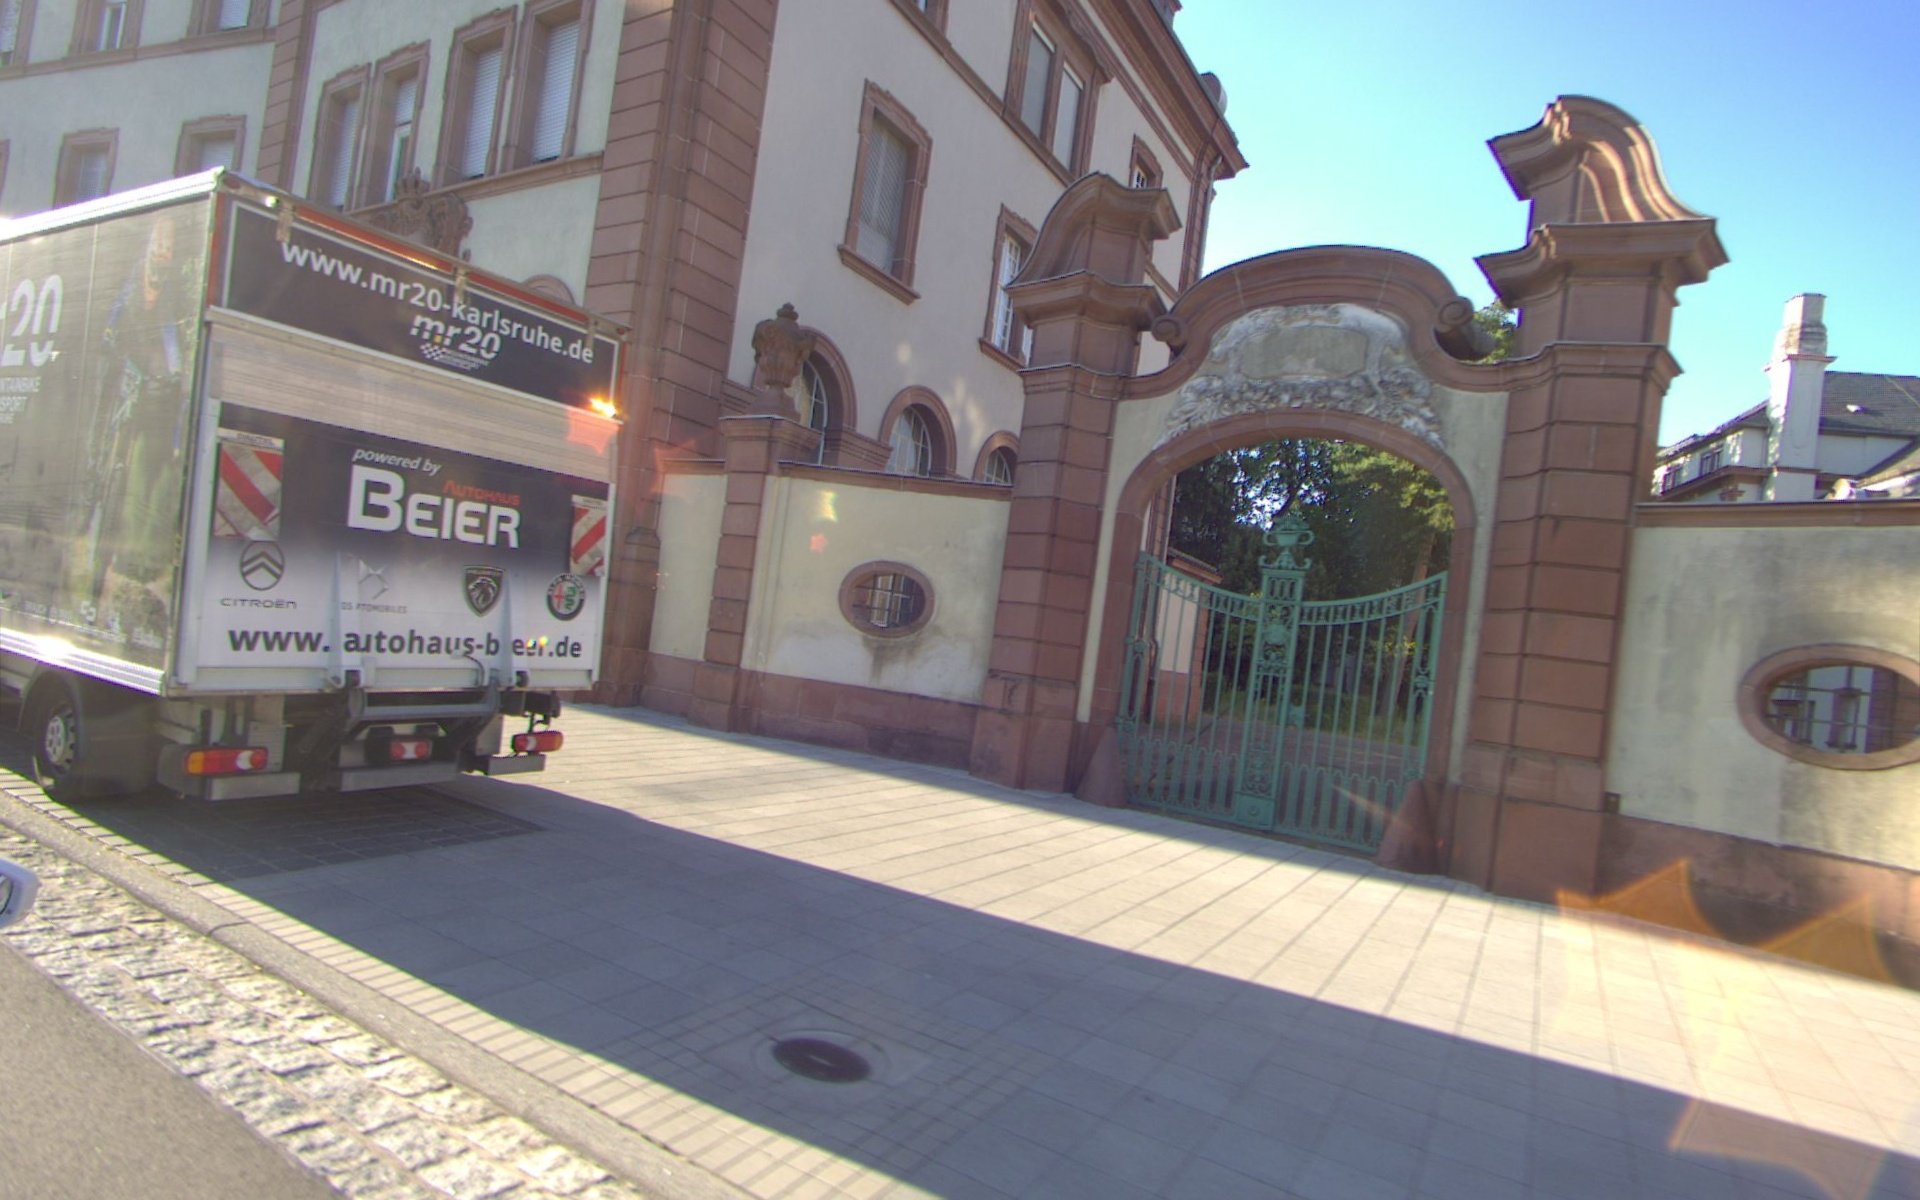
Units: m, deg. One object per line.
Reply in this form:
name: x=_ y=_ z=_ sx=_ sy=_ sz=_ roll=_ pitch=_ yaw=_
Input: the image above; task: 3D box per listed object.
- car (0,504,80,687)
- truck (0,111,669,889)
car: x=-10.243 y=-0.269 z=9.328 sx=4.496 sy=1.549 sz=1.771 roll=6 pitch=-1 yaw=31
truck: x=-5.235 y=-0.585 z=6.668 sx=5.983 sy=3.159 sz=2.629 roll=6 pitch=0 yaw=29
